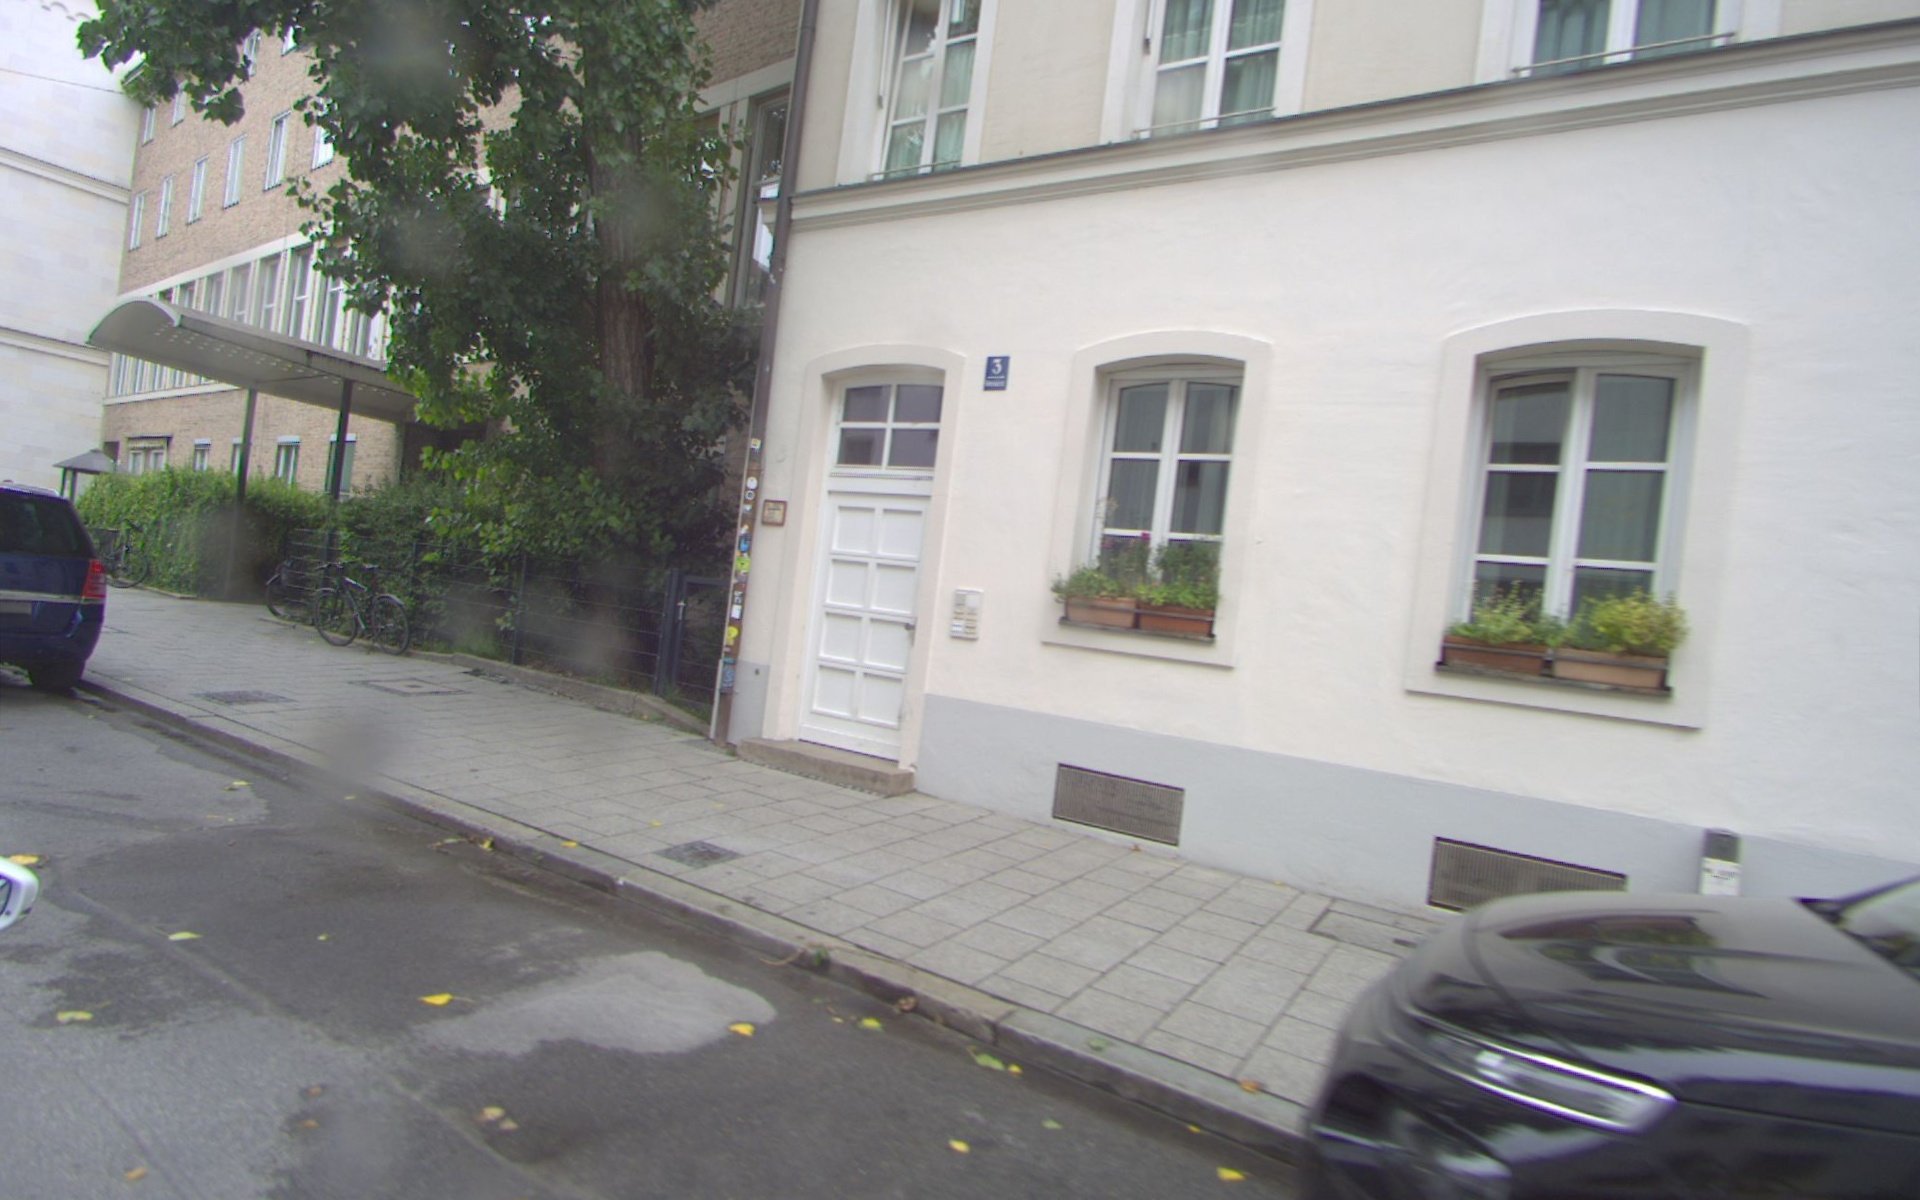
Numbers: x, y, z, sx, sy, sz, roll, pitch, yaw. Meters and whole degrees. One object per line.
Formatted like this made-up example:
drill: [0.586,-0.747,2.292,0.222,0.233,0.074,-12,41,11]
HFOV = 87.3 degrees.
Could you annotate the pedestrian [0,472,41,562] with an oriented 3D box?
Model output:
pedestrian: [-18.523,-1.632,19.629,0.863,1.652,0.588,7,0,37]

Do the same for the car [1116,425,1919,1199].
car: [2.492,0.927,1.267,4.131,1.796,1.851,7,-3,31]

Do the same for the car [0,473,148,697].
car: [-8.775,-0.325,8.273,4.144,1.619,1.811,7,-1,30]

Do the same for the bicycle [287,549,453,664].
bicycle: [-7.012,0.061,11.916,2.187,1.087,0.671,7,0,32]

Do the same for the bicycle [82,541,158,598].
bicycle: [-14.958,-0.546,17.907,1.409,0.828,0.517,7,1,29]

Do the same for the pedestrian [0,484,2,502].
pedestrian: [-18.768,-1.489,18.780,0.661,1.566,0.953,7,0,16]
